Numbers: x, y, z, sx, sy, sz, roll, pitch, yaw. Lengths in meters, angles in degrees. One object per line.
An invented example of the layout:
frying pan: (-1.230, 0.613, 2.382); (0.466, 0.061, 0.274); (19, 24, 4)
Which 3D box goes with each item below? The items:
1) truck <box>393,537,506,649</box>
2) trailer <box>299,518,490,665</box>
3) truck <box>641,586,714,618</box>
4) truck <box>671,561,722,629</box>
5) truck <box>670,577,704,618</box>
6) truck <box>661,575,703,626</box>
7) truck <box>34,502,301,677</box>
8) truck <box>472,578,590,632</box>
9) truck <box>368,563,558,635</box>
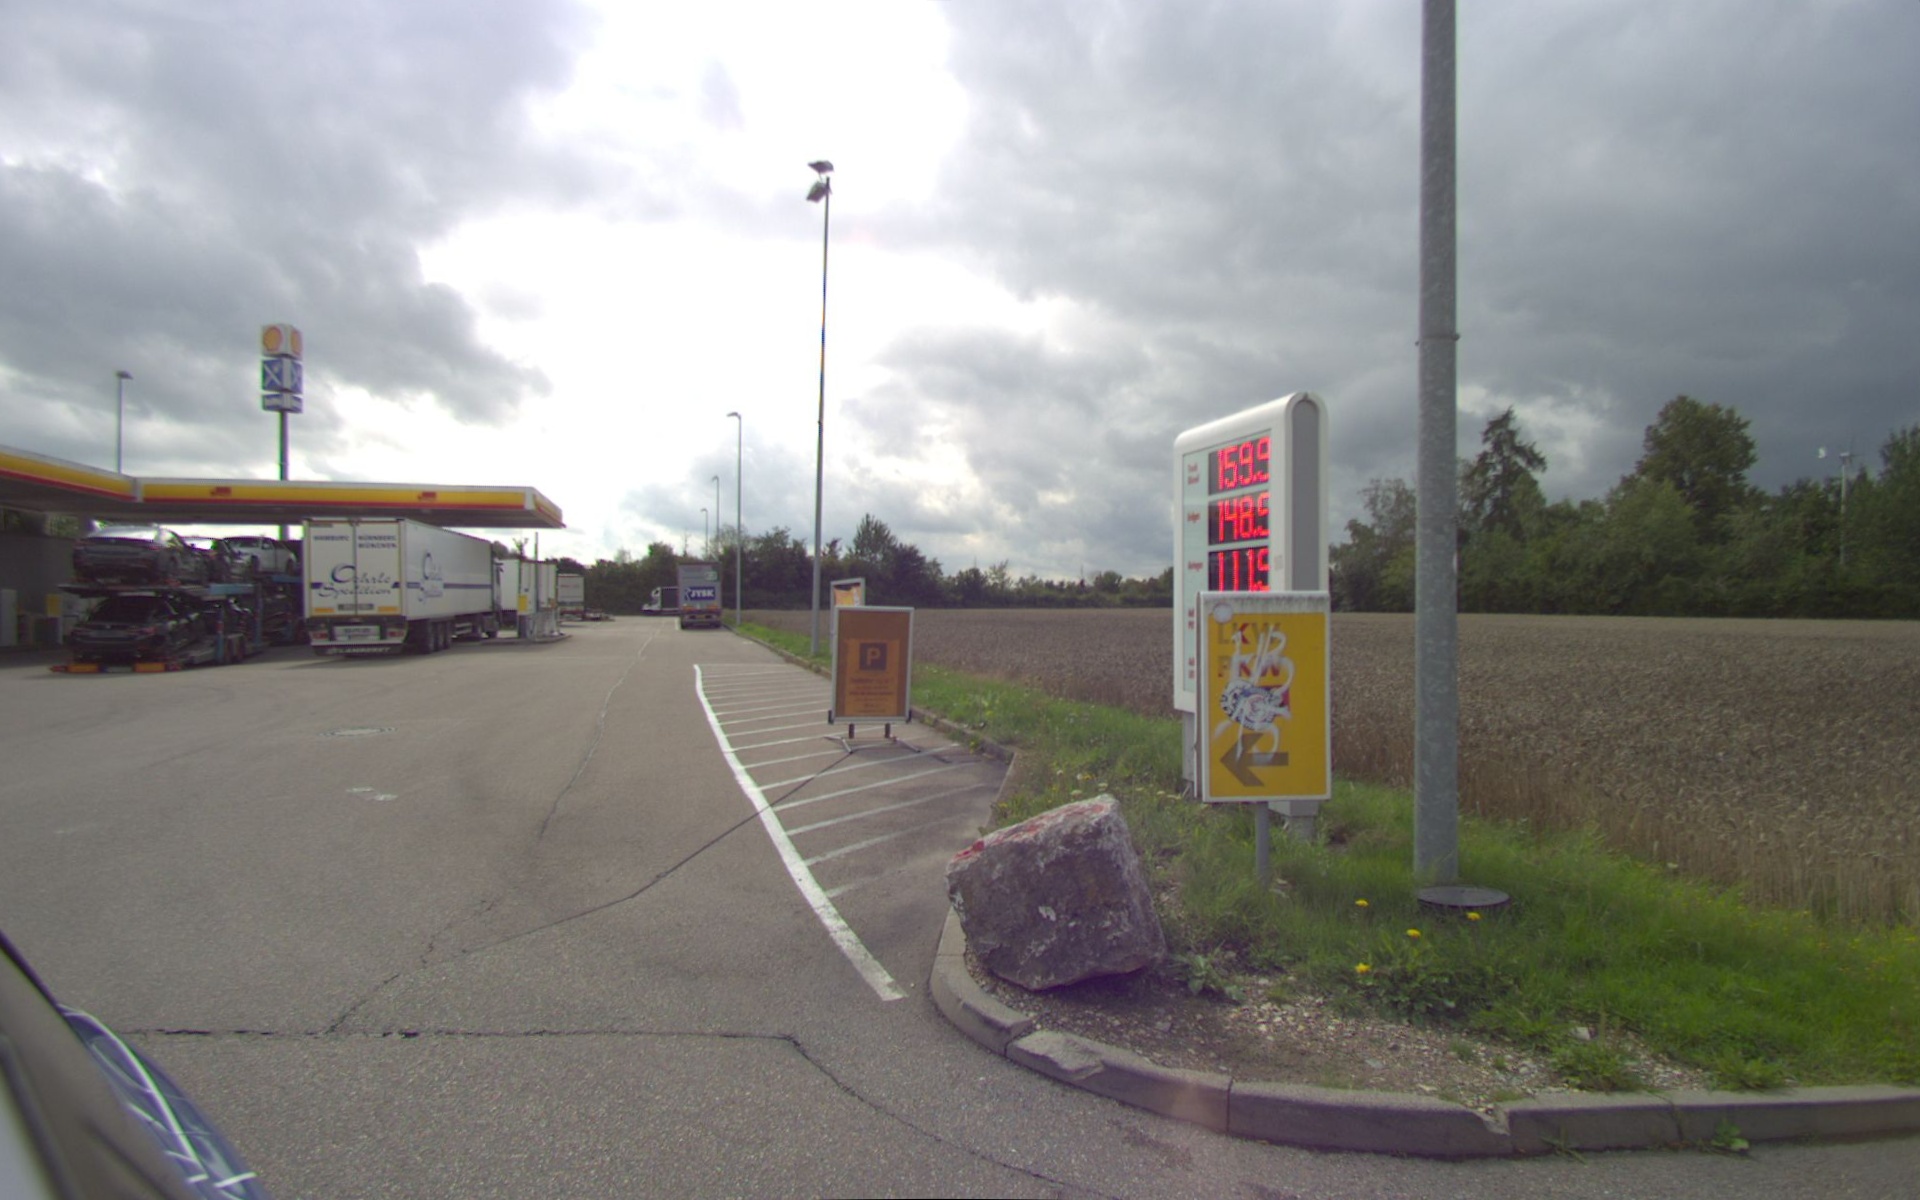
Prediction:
truck: (-20.277, -0.239, 40.597); (2.667, 4.055, 7.189); (-1, 0, -15)
trailer: (-18.625, -0.219, 34.439); (2.667, 4.055, 12.884); (-1, 0, -16)
truck: (-33.639, 0.269, 120.868); (7.940, 3.684, 2.826); (0, -1, -2)
truck: (-17.161, -0.215, 66.573); (2.777, 3.923, 15.501); (0, 0, -13)
truck: (-27.366, -0.193, 101.821); (2.777, 3.923, 12.842); (0, 0, -13)
truck: (-23.565, 0.085, 86.454); (2.777, 3.923, 15.501); (0, 0, -13)
truck: (-22.196, -0.187, 29.461); (2.704, 3.953, 13.302); (1, -1, -23)
truck: (-34.714, 0.428, 81.624); (11.544, 4.142, 2.960); (-1, 0, 34)
truck: (-31.176, -0.052, 63.006); (14.690, 4.143, 2.933); (0, -1, 30)
